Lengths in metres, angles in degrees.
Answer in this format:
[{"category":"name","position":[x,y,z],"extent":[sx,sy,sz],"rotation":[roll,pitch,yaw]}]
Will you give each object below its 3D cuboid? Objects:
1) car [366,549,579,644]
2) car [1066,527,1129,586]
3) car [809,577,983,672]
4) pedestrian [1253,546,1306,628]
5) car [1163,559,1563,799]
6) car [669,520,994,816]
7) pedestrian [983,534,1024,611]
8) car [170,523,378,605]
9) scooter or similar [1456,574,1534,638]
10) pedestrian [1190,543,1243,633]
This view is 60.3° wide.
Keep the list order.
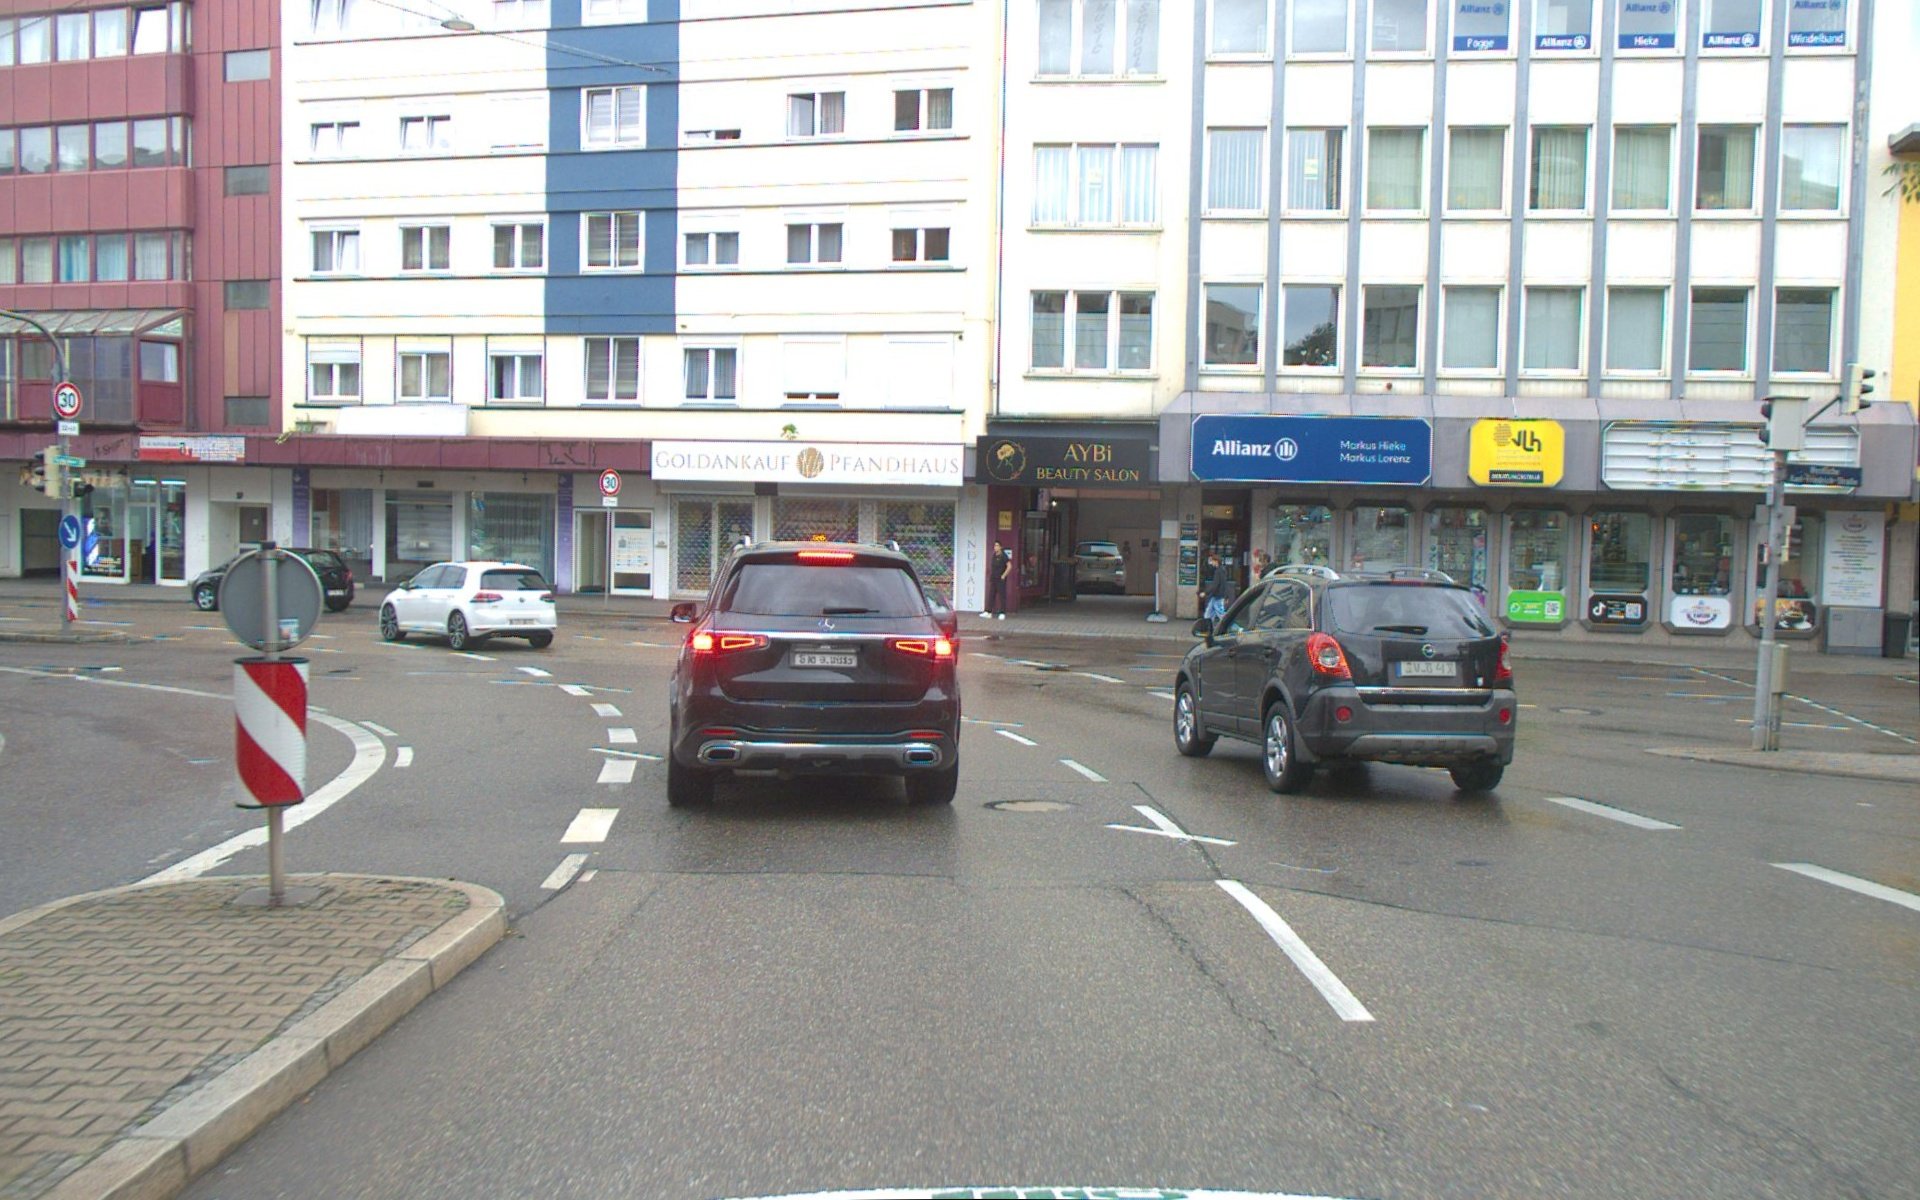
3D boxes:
[{"category":"car","position":[-8.774,-0.089,29.561],"extent":[1.865,1.521,4.330],"rotation":[2,0,-44]},{"category":"car","position":[4.106,-1.283,49.958],"extent":[1.759,1.699,4.002],"rotation":[1,0,3]},{"category":"car","position":[-1.128,0.347,26.938],"extent":[1.740,1.422,3.978],"rotation":[0,0,-19]},{"category":"pedestrian","position":[7.103,-0.294,36.822],"extent":[1.008,1.717,0.831],"rotation":[1,6,3]},{"category":"car","position":[3.211,0.539,14.241],"extent":[1.861,1.724,4.499],"rotation":[1,1,-7]},{"category":"car","position":[-1.082,0.424,12.734],"extent":[2.000,1.830,4.655],"rotation":[1,0,-7]},{"category":"pedestrian","position":[1.004,-0.644,38.334],"extent":[0.744,1.717,0.561],"rotation":[-2,7,-26]},{"category":"car","position":[-16.048,-0.837,38.718],"extent":[4.389,1.687,1.829],"rotation":[3,-1,21]},{"category":"scooter or similar","position":[11.742,0.126,36.353],"extent":[1.480,1.230,0.622],"rotation":[4,6,10]},{"category":"pedestrian","position":[5.522,-0.272,35.663],"extent":[1.008,1.829,0.831],"rotation":[1,6,3]}]
